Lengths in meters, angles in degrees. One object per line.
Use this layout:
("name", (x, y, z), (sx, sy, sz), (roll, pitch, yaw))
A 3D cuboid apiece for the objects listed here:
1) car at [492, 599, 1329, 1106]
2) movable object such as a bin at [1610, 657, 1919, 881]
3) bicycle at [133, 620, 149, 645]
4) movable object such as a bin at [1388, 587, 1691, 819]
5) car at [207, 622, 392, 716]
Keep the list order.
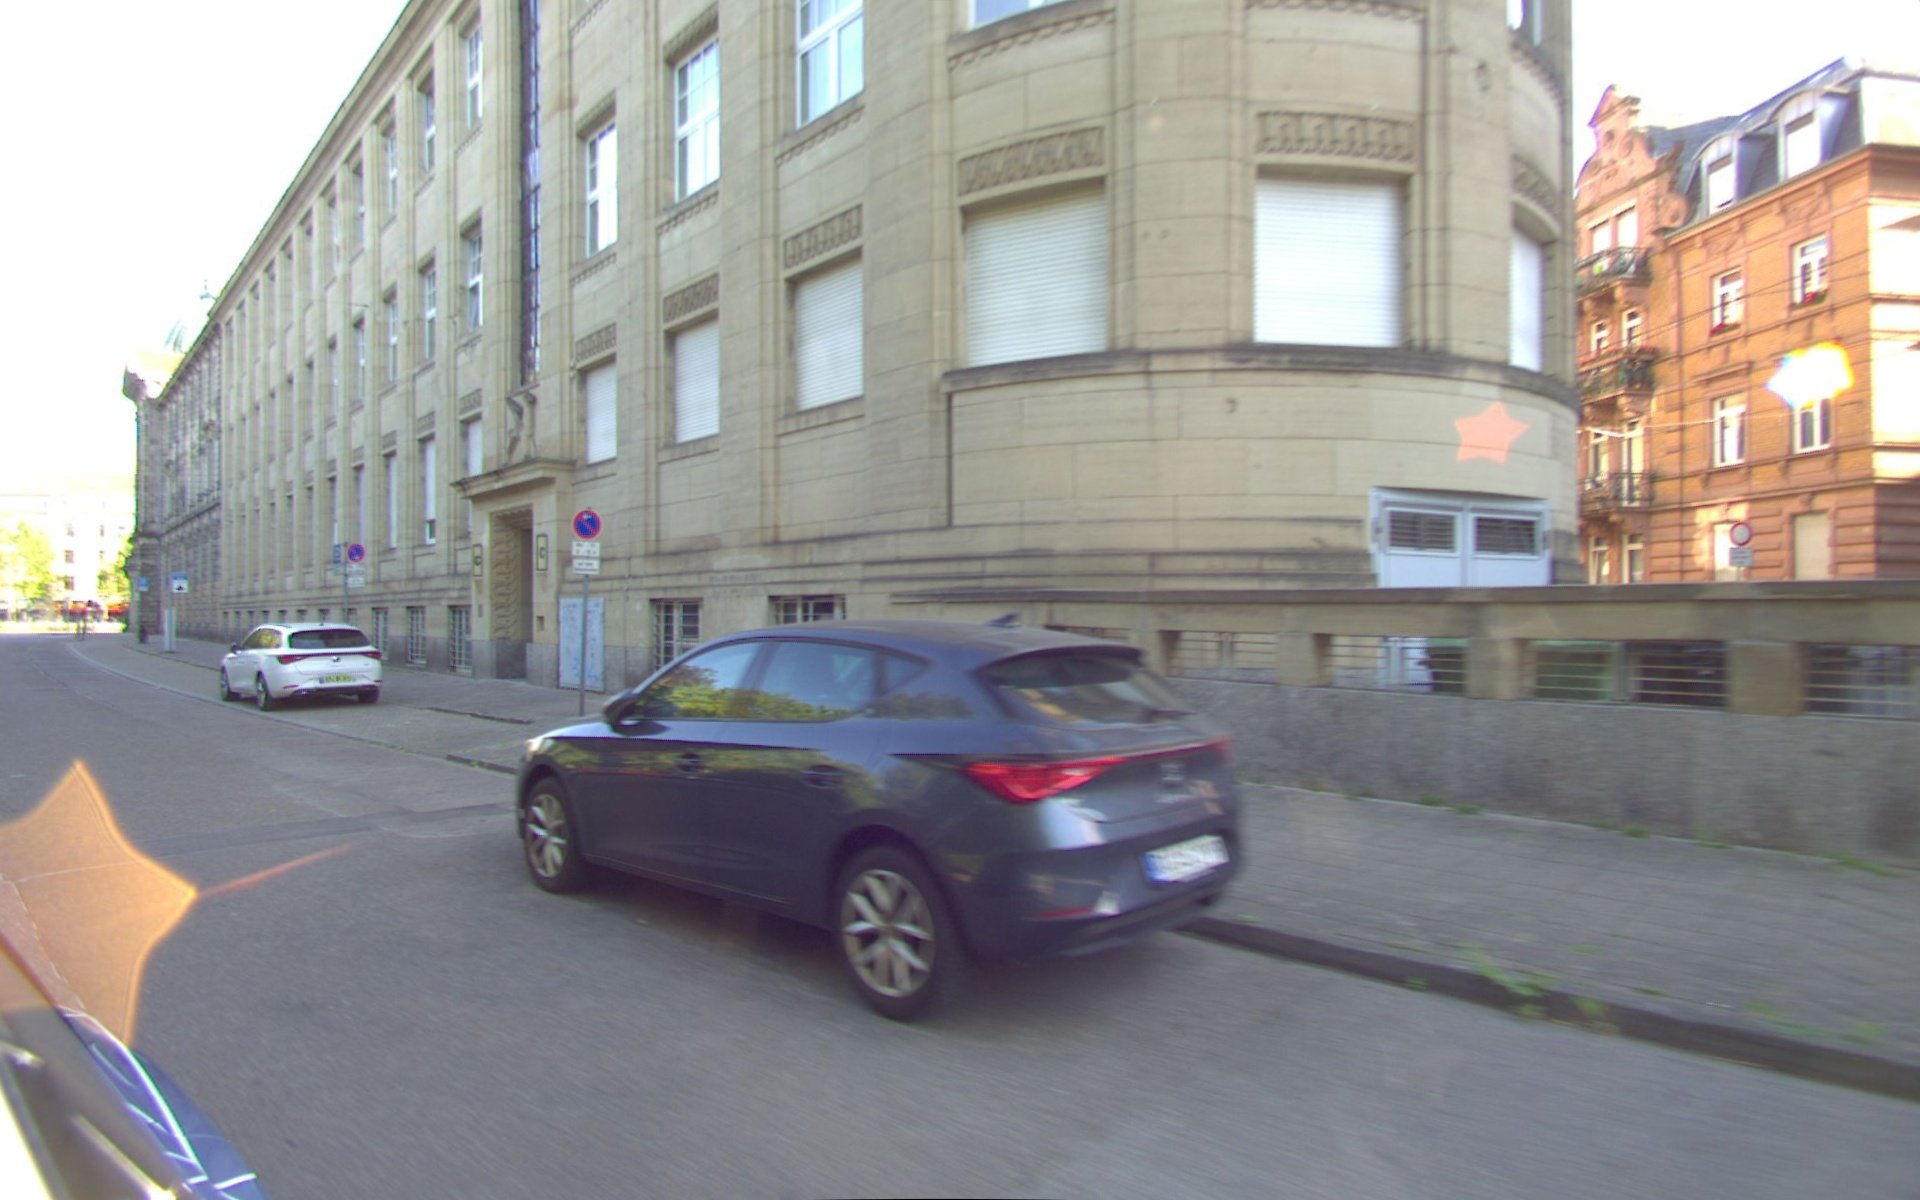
("car", (-0.586, 0.770, 5.015), (4.209, 1.459, 1.724), (-1, -2, 44))
("movable object such as a bin", (6.392, 1.203, 7.909), (1.167, 1.439, 1.926), (0, -1, -10))
("bicycle", (-41.036, 1.625, 50.702), (0.451, 1.218, 1.882), (1, -2, -35))
("movable object such as a bin", (4.273, 0.689, 7.550), (1.131, 1.497, 1.631), (1, -2, -37))
("car", (-11.958, 1.135, 18.194), (4.560, 1.445, 1.725), (-1, 0, 43))
